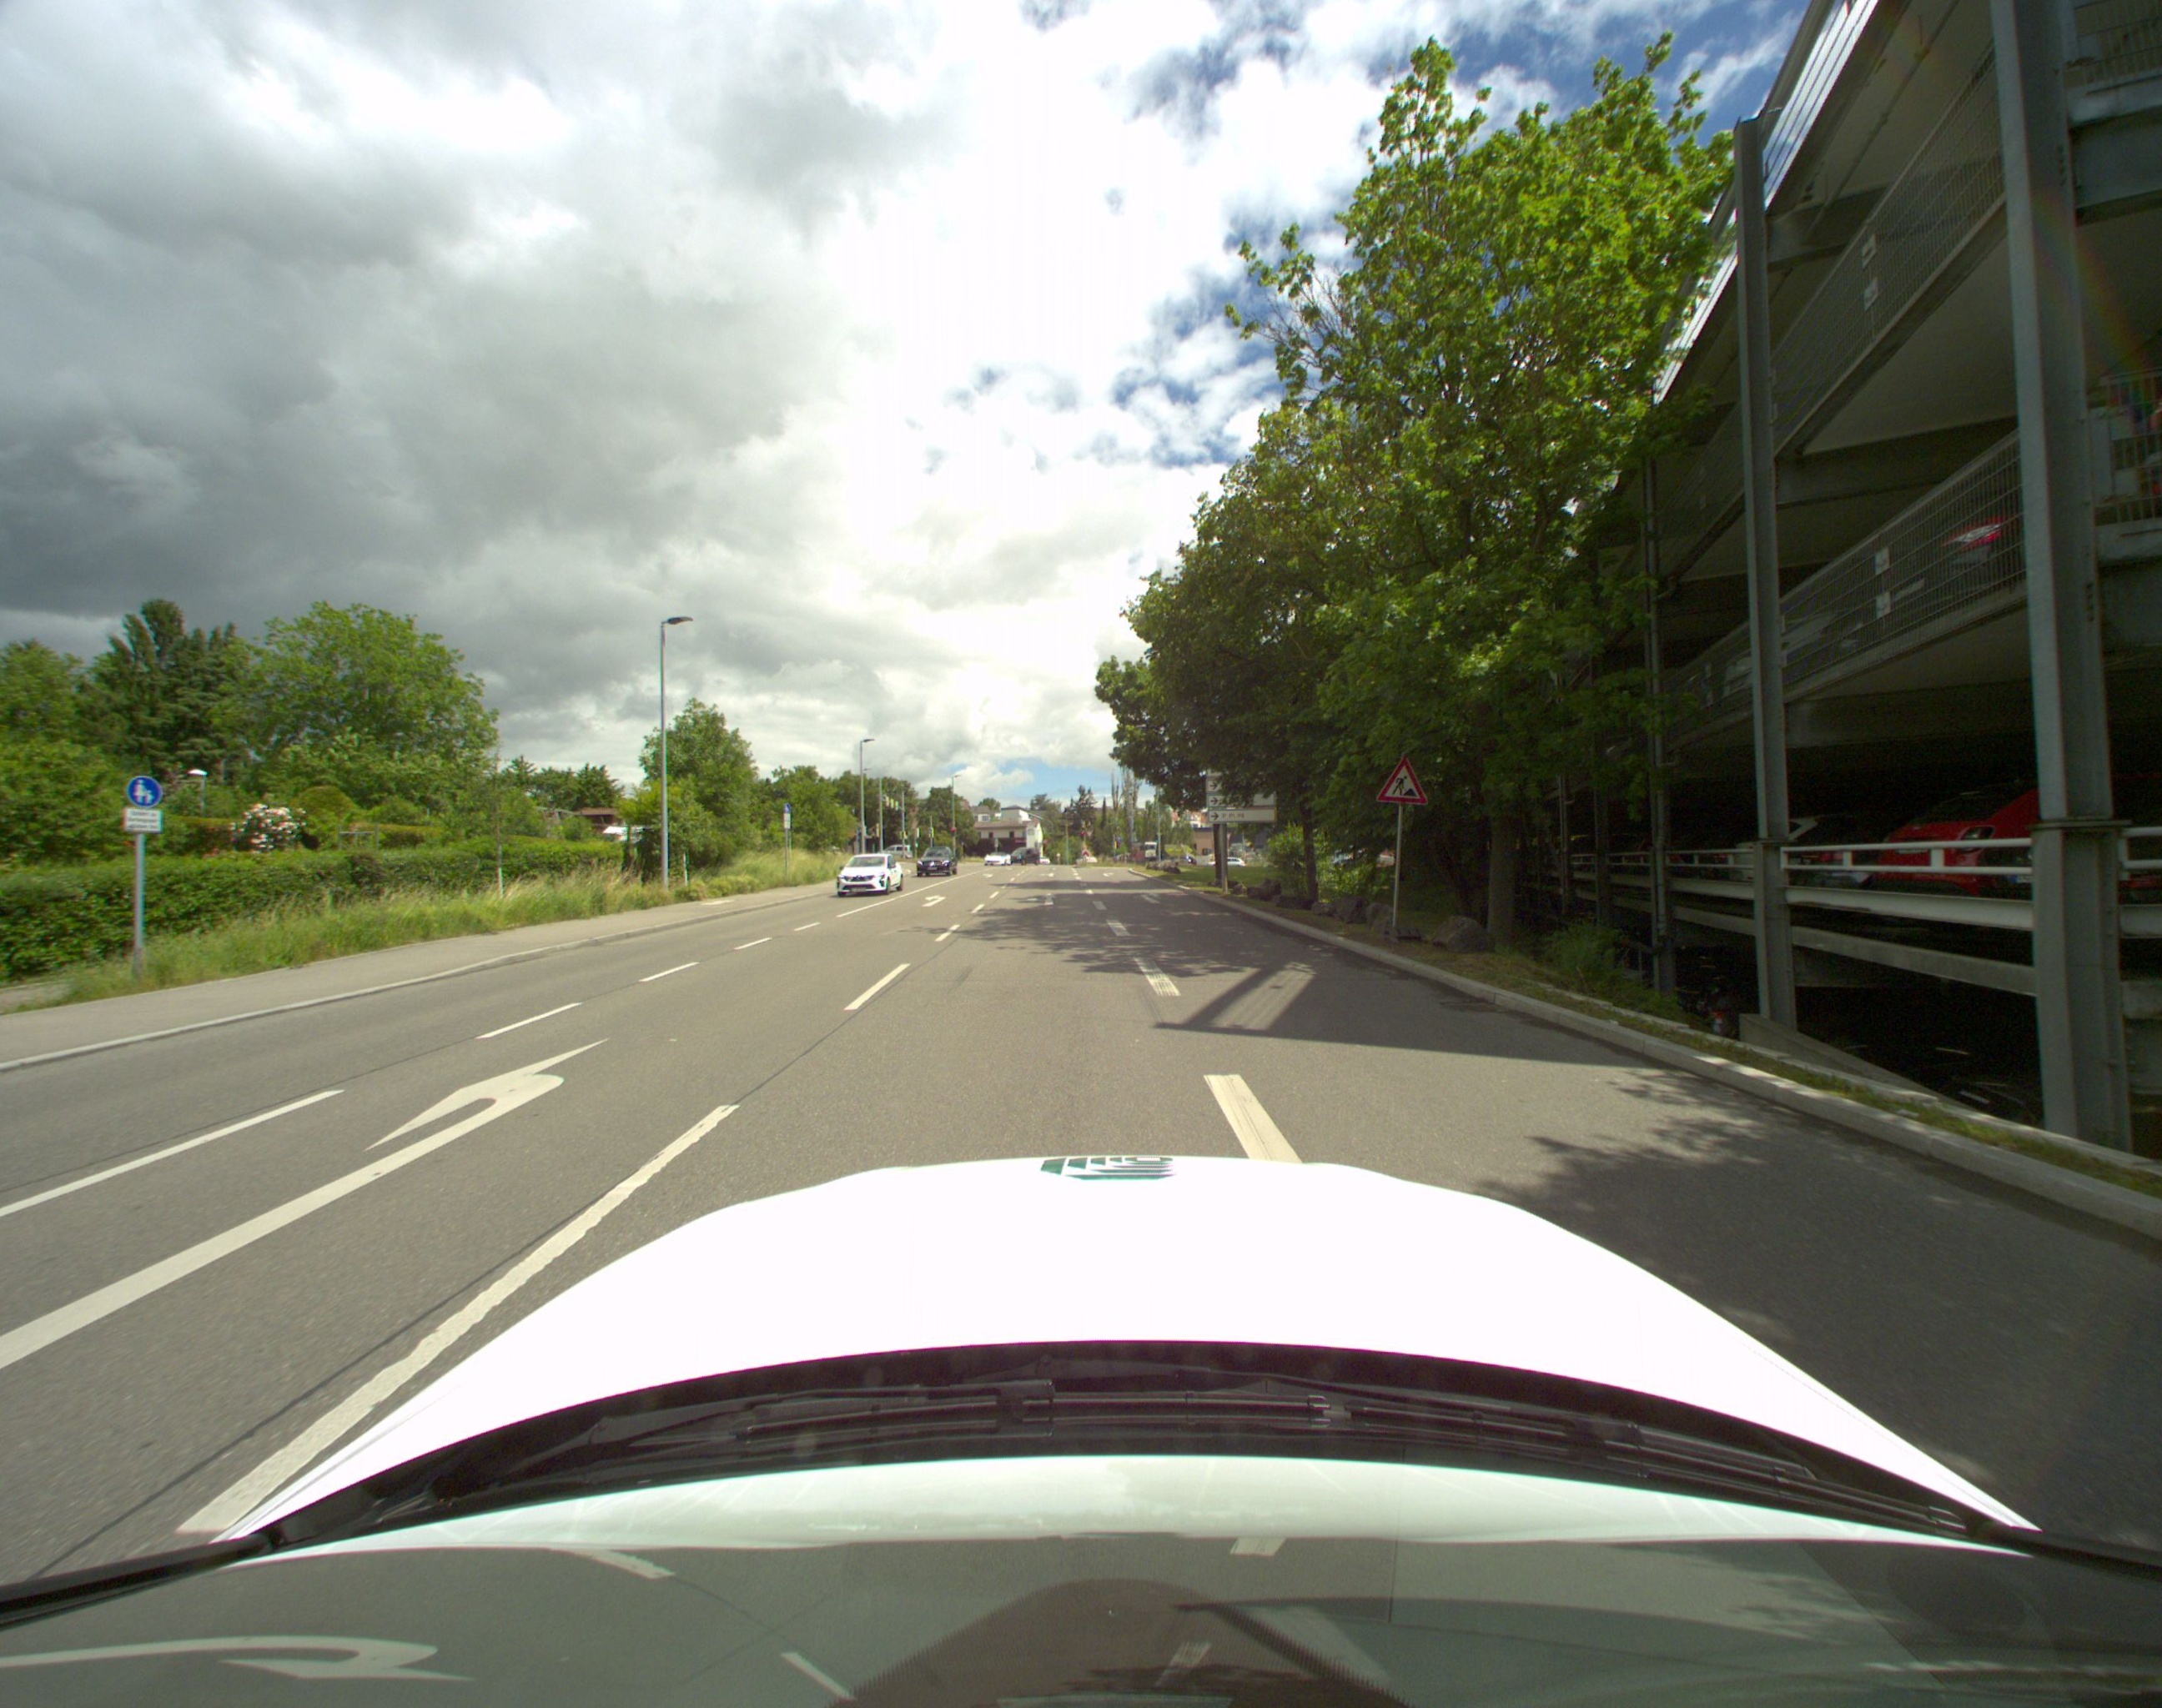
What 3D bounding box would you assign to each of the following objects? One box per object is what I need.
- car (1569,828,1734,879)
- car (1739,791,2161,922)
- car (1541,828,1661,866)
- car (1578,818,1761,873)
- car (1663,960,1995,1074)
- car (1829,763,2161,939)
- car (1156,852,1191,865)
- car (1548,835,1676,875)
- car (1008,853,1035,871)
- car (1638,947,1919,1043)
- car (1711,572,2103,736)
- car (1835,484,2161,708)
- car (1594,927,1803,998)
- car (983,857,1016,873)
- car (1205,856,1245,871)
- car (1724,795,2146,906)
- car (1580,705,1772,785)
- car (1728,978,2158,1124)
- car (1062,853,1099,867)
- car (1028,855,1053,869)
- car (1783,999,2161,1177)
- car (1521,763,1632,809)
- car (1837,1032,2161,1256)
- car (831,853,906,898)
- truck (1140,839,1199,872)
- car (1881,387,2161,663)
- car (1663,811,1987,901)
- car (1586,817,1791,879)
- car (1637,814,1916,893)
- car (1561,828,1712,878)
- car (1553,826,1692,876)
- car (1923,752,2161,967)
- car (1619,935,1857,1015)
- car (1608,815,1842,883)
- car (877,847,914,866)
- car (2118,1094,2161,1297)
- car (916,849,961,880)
[{"bbox_3d":[17.169,0.005,24.734,3.811,1.392,1.704,-1,0,22],"label":"car"},{"bbox_3d":[10.780,0.048,10.010,3.810,1.392,1.823,-1,0,23],"label":"car"},{"bbox_3d":[20.829,-0.271,32.821,3.811,1.392,1.786,-1,0,22],"label":"car"},{"bbox_3d":[16.224,-0.207,22.689,3.811,1.392,1.704,-1,0,22],"label":"car"},{"bbox_3d":[12.677,2.722,14.136,3.812,1.453,1.846,-1,0,20],"label":"car"},{"bbox_3d":[9.964,-0.039,7.709,3.812,1.514,1.846,-1,0,20],"label":"car"},{"bbox_3d":[11.059,0.538,97.438,3.971,1.400,1.698,1,-1,2],"label":"car"},{"bbox_3d":[20.024,0.058,30.896,3.811,1.392,1.704,-1,0,22],"label":"car"},{"bbox_3d":[-6.096,0.803,83.699,1.775,1.779,4.822,-1,-1,8],"label":"car"},{"bbox_3d":[13.570,2.704,16.150,3.812,1.453,1.846,-1,0,20],"label":"car"},{"bbox_3d":[11.694,-2.761,11.879,3.658,1.641,1.669,-1,2,23],"label":"car"},{"bbox_3d":[9.828,-2.430,7.667,3.658,1.562,1.669,-1,2,23],"label":"car"},{"bbox_3d":[15.402,2.671,20.559,3.812,1.453,1.846,-1,0,20],"label":"car"},{"bbox_3d":[-7.369,0.979,73.904,1.894,1.291,4.619,-2,0,7],"label":"car"},{"bbox_3d":[16.570,1.099,94.083,4.346,1.469,1.623,2,0,3],"label":"car"},{"bbox_3d":[11.916,-0.010,11.736,3.811,1.392,1.704,-1,0,22],"label":"car"},{"bbox_3d":[14.965,-2.701,20.718,3.658,1.619,1.669,-1,2,23],"label":"car"},{"bbox_3d":[12.007,2.700,11.729,3.812,1.453,1.846,-1,0,20],"label":"car"},{"bbox_3d":[-0.095,0.850,110.943,4.752,1.779,1.801,-1,-2,24],"label":"car"},{"bbox_3d":[-5.834,1.182,118.222,1.913,1.860,3.771,-2,-1,-33],"label":"car"},{"bbox_3d":[11.110,2.676,9.644,3.812,1.453,1.846,-1,0,20],"label":"car"},{"bbox_3d":[20.239,-2.755,33.439,3.658,1.619,1.737,-1,2,23],"label":"car"},{"bbox_3d":[10.029,2.705,7.680,3.812,1.453,1.846,-1,0,20],"label":"car"},{"bbox_3d":[-7.499,0.719,29.126,1.762,1.442,3.896,-2,0,-3],"label":"car"},{"bbox_3d":[10.948,0.200,101.095,6.918,3.579,2.848,-3,-1,2],"label":"truck"},{"bbox_3d":[8.394,-2.401,5.681,3.658,1.411,1.669,-1,2,23],"label":"car"},{"bbox_3d":[12.676,0.070,14.207,3.811,1.392,1.704,-1,0,22],"label":"car"},{"bbox_3d":[15.117,-0.121,20.520,3.811,1.392,1.704,-1,0,22],"label":"car"},{"bbox_3d":[13.427,0.023,16.022,3.811,1.392,1.704,-1,0,22],"label":"car"},{"bbox_3d":[18.086,-0.013,26.724,3.811,1.490,1.704,-1,0,22],"label":"car"},{"bbox_3d":[19.036,-0.081,28.823,3.811,1.626,1.704,-1,0,22],"label":"car"},{"bbox_3d":[8.698,-0.002,5.604,3.659,1.412,1.668,-1,0,22],"label":"car"},{"bbox_3d":[14.753,2.676,18.568,3.812,1.453,1.846,-1,0,20],"label":"car"},{"bbox_3d":[14.400,-0.083,18.486,3.811,1.392,1.704,-1,0,22],"label":"car"},{"bbox_3d":[-22.594,0.290,99.271,3.973,2.014,2.000,-3,-1,0],"label":"car"},{"bbox_3d":[9.750,2.615,5.030,3.691,1.453,1.846,-1,0,20],"label":"car"},{"bbox_3d":[-8.129,0.569,46.913,1.816,1.654,4.531,-2,0,-1],"label":"car"}]
